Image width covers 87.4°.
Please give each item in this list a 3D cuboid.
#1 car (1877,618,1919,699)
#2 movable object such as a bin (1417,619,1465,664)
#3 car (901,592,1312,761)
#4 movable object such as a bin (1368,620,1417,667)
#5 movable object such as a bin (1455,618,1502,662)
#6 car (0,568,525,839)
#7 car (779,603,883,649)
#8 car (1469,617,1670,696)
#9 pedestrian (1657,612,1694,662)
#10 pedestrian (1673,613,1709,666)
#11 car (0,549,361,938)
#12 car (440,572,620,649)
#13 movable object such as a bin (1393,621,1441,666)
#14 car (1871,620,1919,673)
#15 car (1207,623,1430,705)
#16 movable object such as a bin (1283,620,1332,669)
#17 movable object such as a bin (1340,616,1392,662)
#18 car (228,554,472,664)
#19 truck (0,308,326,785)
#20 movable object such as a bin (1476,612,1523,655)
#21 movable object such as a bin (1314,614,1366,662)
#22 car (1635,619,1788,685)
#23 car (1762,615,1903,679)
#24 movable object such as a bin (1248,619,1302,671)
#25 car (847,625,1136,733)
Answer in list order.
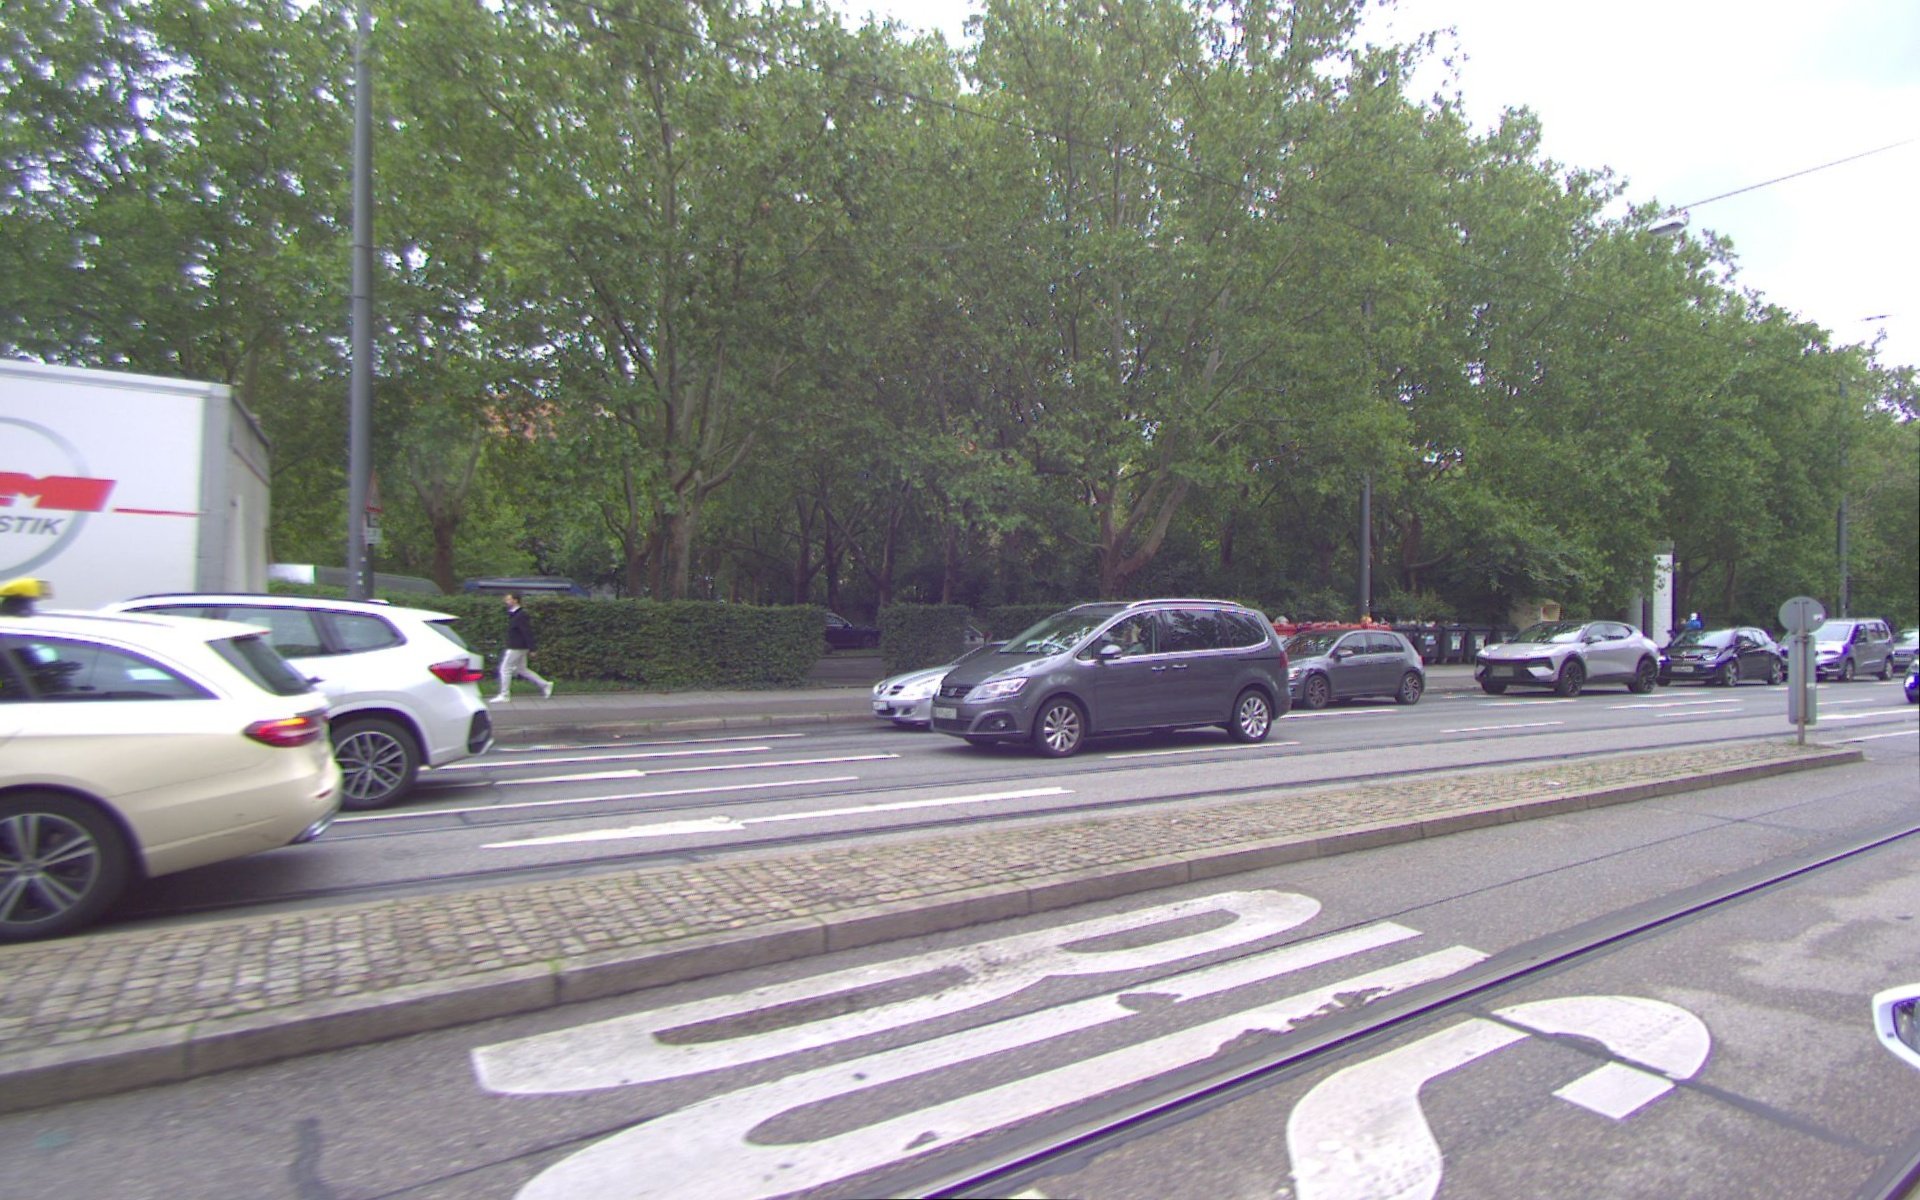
[{"bbox_3d":[20.446,1.162,20.137,4.302,1.542,1.791,1,-2,-29],"label":"car"},{"bbox_3d":[15.704,1.344,32.815,1.146,1.371,0.928,1,2,-34],"label":"movable object such as a bin"},{"bbox_3d":[1.850,0.815,12.107,4.832,1.705,1.814,1,-1,-30],"label":"car"},{"bbox_3d":[13.700,1.359,31.827,1.071,1.371,0.928,1,4,-33],"label":"movable object such as a bin"},{"bbox_3d":[17.311,1.321,33.528,1.146,1.371,0.928,1,2,-34],"label":"movable object such as a bin"},{"bbox_3d":[-5.992,0.673,7.505,4.836,1.705,1.905,1,-1,-32],"label":"car"},{"bbox_3d":[-5.369,1.059,41.852,3.944,1.762,1.859,-1,1,-27],"label":"car"},{"bbox_3d":[14.130,1.254,23.207,4.939,1.664,1.791,1,-1,-29],"label":"car"},{"bbox_3d":[25.511,1.305,35.815,0.973,1.707,0.663,-1,1,-21],"label":"pedestrian"},{"bbox_3d":[25.636,1.383,35.238,0.806,1.813,0.663,1,0,-21],"label":"pedestrian"},{"bbox_3d":[-5.508,0.604,4.484,4.835,1.660,1.813,1,-1,-31],"label":"car"},{"bbox_3d":[-15.447,0.320,36.205,5.788,2.569,1.986,-1,1,-27],"label":"car"},{"bbox_3d":[14.706,1.379,32.332,1.071,1.371,0.928,1,2,-33],"label":"movable object such as a bin"},{"bbox_3d":[31.927,1.493,32.875,4.533,1.656,1.791,1,-1,-29],"label":"car"},{"bbox_3d":[6.839,1.148,19.109,4.049,1.399,1.814,1,-1,-30],"label":"car"},{"bbox_3d":[10.234,1.296,29.595,1.003,1.371,0.928,1,0,-33],"label":"movable object such as a bin"},{"bbox_3d":[12.609,1.196,31.172,1.264,1.371,0.928,1,1,-34],"label":"movable object such as a bin"},{"bbox_3d":[-13.411,0.335,22.508,1.959,2.039,4.634,-1,-6,12],"label":"car"},{"bbox_3d":[-11.950,-0.474,7.880,11.574,4.033,2.728,1,-2,-30],"label":"truck"},{"bbox_3d":[18.387,1.133,34.221,1.146,1.371,0.928,1,2,-34],"label":"movable object such as a bin"},{"bbox_3d":[11.491,1.128,30.369,1.117,1.371,0.928,1,2,-34],"label":"movable object such as a bin"},{"bbox_3d":[20.519,1.368,27.400,4.302,1.689,1.791,1,-1,-29],"label":"car"},{"bbox_3d":[26.017,1.357,29.929,4.418,1.803,1.791,1,-1,-29],"label":"car"},{"bbox_3d":[9.038,1.278,28.856,1.071,1.371,0.928,1,5,-33],"label":"movable object such as a bin"},{"bbox_3d":[0.508,1.125,15.108,4.053,1.429,1.724,1,-4,-30],"label":"car"}]
